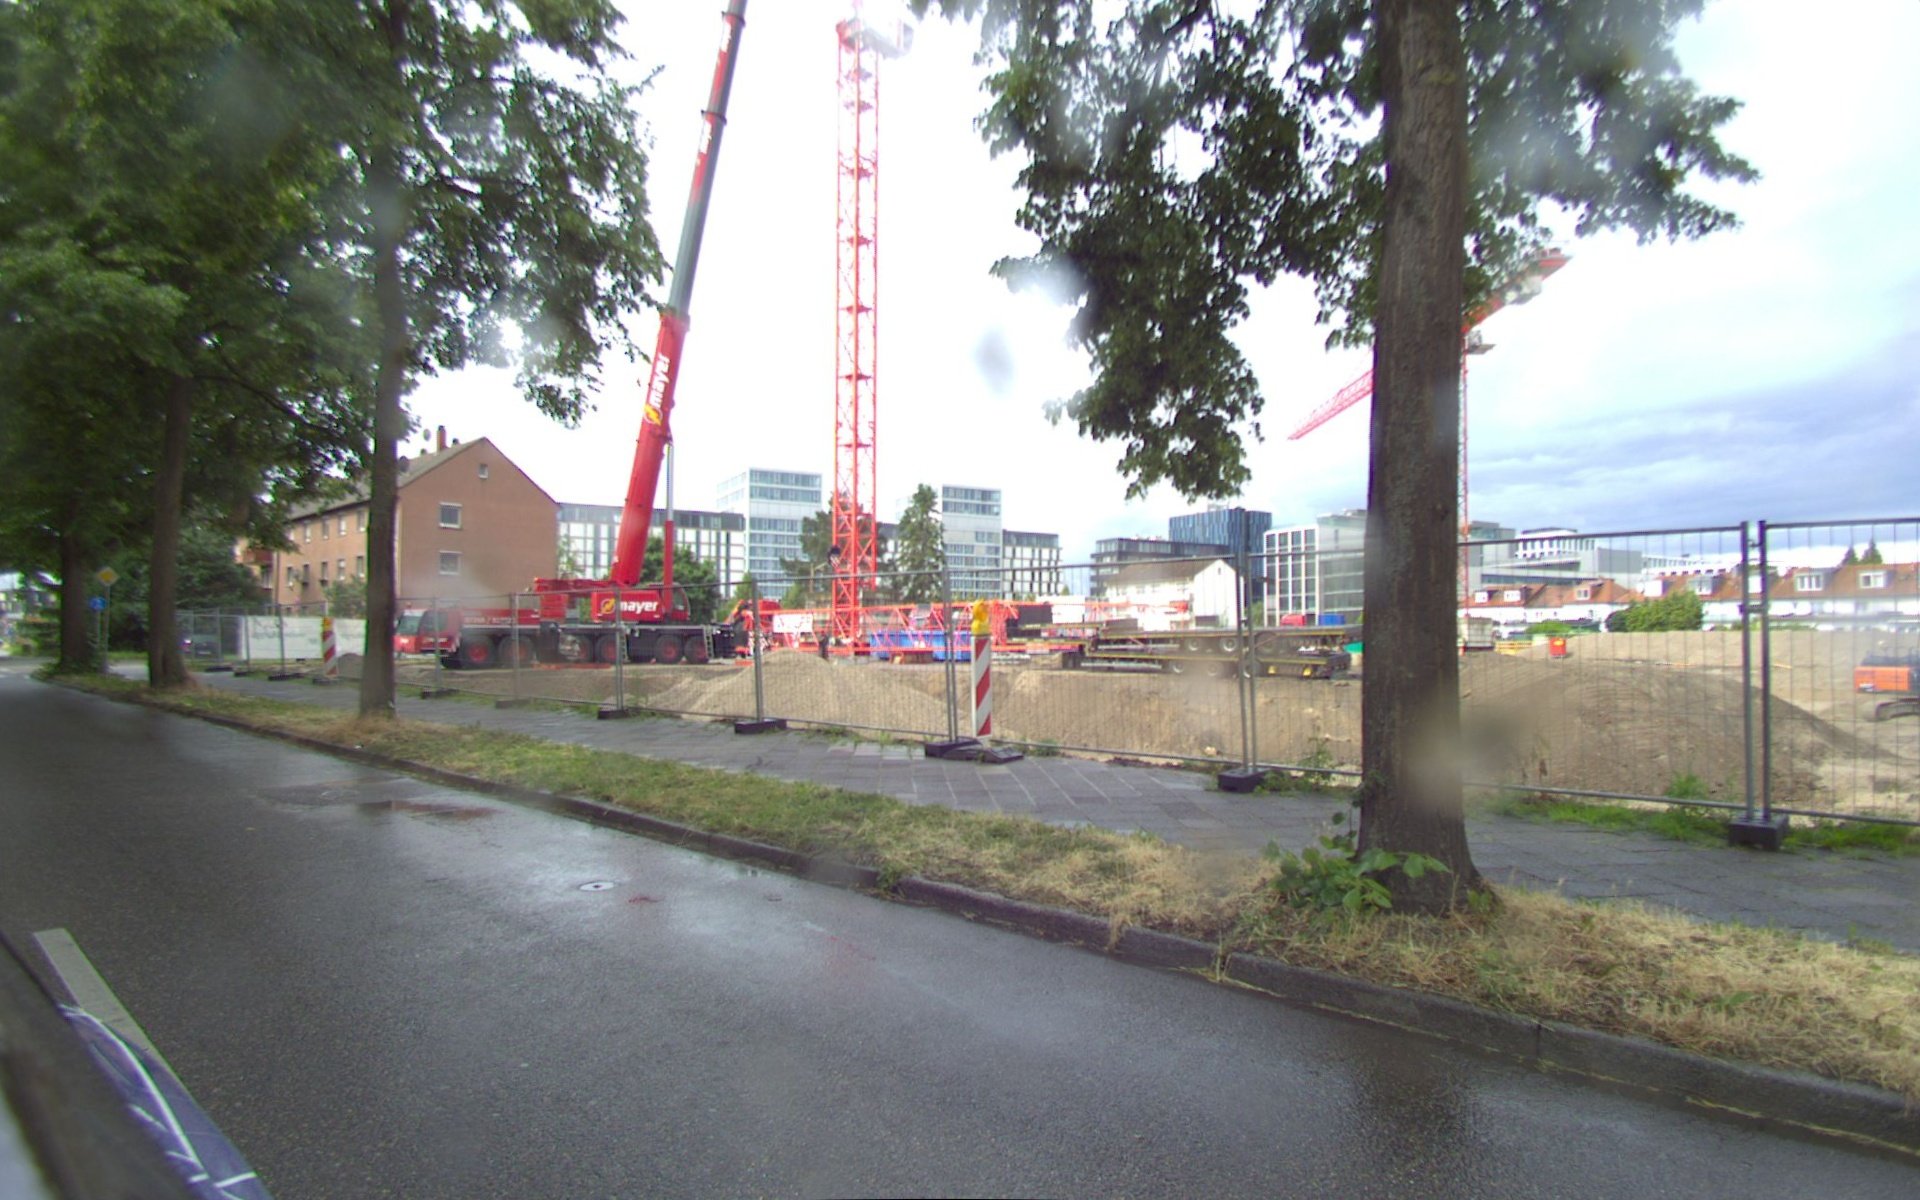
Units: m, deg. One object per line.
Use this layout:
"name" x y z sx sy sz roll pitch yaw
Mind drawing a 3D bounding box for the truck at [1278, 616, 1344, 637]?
"truck" 36.359 2.696 104.776 6.292 2.095 1.884 -1 0 25

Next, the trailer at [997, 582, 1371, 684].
"trailer" 7.955 1.152 38.882 14.302 3.257 2.930 -1 1 41

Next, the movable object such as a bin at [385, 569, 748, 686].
"movable object such as a bin" -17.282 1.062 46.570 3.103 4.593 15.727 -1 0 44

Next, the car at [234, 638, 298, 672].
"car" -35.356 2.769 51.521 3.996 1.541 1.672 -1 0 39
